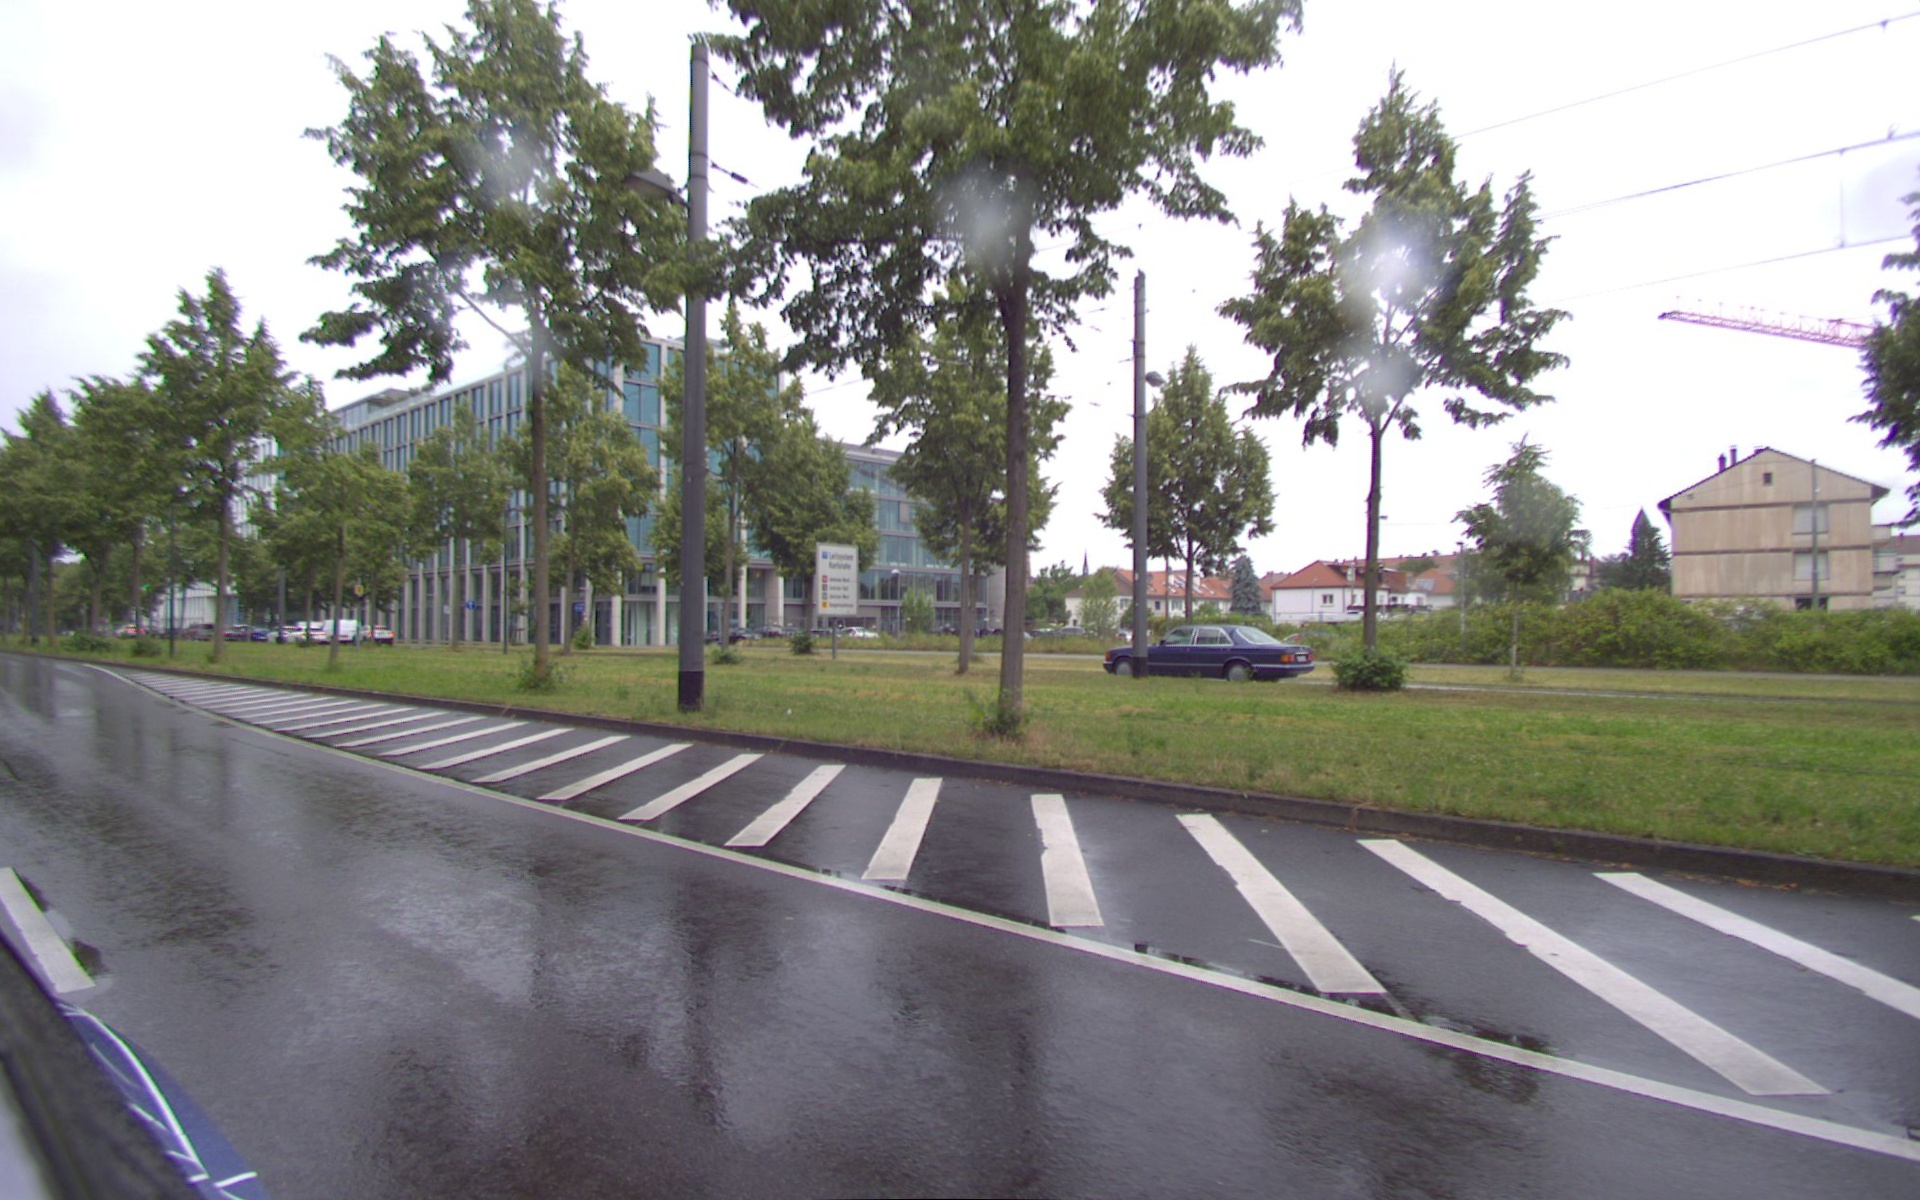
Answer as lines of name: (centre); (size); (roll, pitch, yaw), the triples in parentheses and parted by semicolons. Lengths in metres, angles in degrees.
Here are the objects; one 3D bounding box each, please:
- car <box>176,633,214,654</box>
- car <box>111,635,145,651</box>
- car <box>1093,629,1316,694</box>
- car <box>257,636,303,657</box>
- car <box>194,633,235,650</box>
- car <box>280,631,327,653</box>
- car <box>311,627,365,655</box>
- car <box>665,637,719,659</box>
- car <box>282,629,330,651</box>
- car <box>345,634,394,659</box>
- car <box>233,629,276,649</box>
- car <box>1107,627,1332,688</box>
car: (-72.335, 4.141, 95.639); (4.540, 1.863, 1.931); (-3, -3, 40)
car: (-83.854, 4.320, 101.958); (4.573, 1.463, 1.930); (-2, -2, 41)
car: (5.595, 1.368, 23.647); (4.974, 1.307, 1.473); (0, -1, 41)
car: (-53.640, 3.657, 79.802); (4.573, 1.525, 1.930); (-2, -2, 41)
car: (-65.492, 3.651, 88.878); (4.600, 1.396, 1.931); (-4, -4, 40)
car: (-48.909, 3.162, 75.336); (4.832, 1.472, 1.928); (-5, -4, 45)
car: (-49.005, 3.260, 79.662); (5.371, 2.022, 2.244); (-5, -4, 42)
car: (-21.231, 3.792, 80.319); (1.745, 1.621, 3.746); (-5, -4, 44)
car: (-54.925, 3.374, 85.004); (5.024, 1.664, 1.931); (-4, -4, 39)
car: (-43.211, 3.372, 74.041); (4.577, 1.762, 1.929); (-2, -2, 44)
car: (-58.615, 3.282, 84.112); (3.957, 1.506, 1.931); (-4, -4, 39)
car: (5.909, 1.332, 23.474); (4.846, 1.276, 1.533); (-3, -3, 39)
